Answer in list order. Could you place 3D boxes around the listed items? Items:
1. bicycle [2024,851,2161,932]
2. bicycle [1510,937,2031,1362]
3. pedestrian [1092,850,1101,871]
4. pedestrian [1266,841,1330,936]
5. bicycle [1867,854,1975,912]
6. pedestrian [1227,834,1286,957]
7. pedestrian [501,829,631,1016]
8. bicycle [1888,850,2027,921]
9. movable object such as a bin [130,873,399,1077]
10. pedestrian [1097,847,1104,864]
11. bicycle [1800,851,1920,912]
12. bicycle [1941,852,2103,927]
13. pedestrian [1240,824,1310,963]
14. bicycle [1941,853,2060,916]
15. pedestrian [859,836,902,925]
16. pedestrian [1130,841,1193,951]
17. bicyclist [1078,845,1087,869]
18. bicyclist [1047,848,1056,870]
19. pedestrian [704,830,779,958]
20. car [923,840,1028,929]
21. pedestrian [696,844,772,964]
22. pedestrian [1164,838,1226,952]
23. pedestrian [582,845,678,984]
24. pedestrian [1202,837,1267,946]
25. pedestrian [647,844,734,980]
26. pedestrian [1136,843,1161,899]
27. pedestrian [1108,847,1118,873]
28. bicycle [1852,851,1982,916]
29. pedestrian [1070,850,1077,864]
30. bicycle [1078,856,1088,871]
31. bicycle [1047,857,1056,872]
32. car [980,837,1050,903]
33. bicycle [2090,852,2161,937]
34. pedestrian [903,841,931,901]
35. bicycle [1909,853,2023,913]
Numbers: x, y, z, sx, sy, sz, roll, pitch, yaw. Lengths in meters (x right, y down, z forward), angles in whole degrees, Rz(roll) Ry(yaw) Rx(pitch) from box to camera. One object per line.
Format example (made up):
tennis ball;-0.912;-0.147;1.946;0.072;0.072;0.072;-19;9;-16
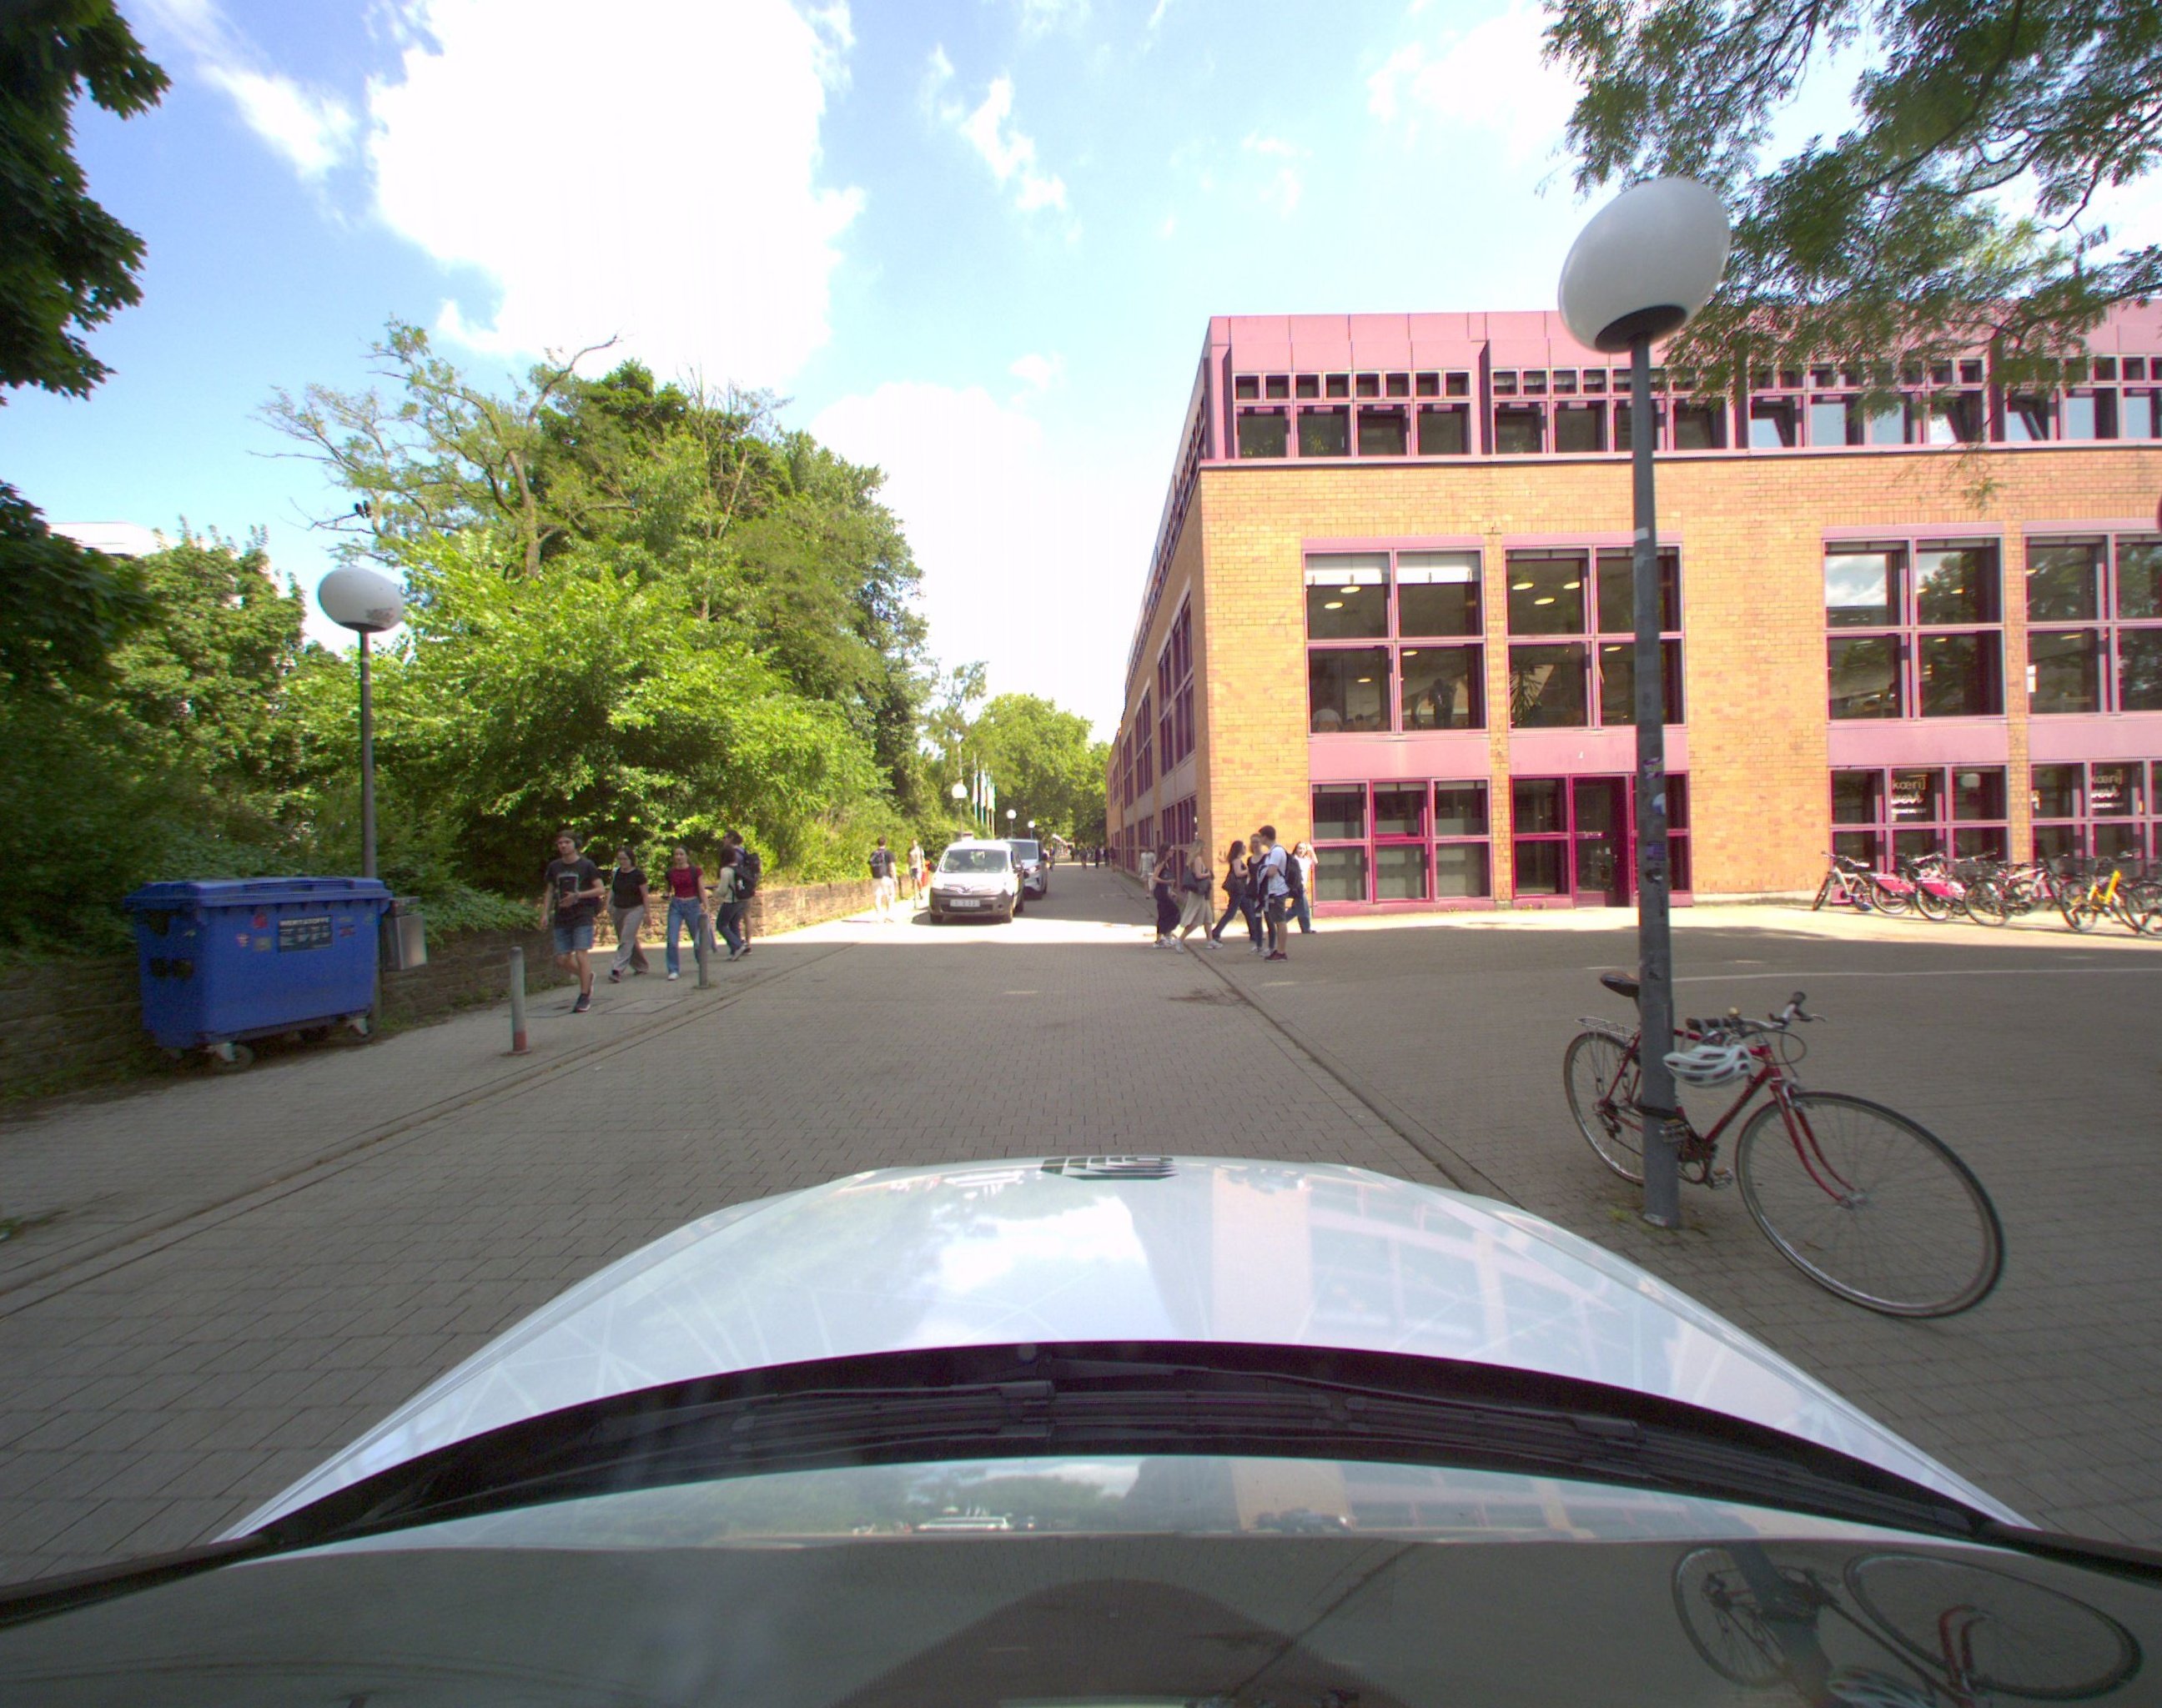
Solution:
bicycle;14.601;0.519;11.581;1.804;1.110;0.523;0;0;-1
bicycle;2.369;0.904;3.122;0.449;0.962;1.739;-4;0;-1
pedestrian;1.273;0.505;66.903;0.584;1.672;0.817;-3;-1;1
pedestrian;3.709;0.569;13.976;0.881;1.542;0.744;-3;0;7
bicycle;16.580;0.557;16.088;1.804;1.110;0.473;0;0;-6
pedestrian;2.486;0.581;11.613;0.693;1.672;0.589;-3;-1;7
pedestrian;-5.075;0.639;8.092;0.681;1.728;1.019;-1;-1;-5
bicycle;14.355;0.505;13.349;1.805;1.110;0.523;0;0;-3
movable object such as a bin;-6.130;0.839;6.204;0.705;1.336;1.243;1;0;10
pedestrian;2.205;0.197;92.183;0.651;1.922;0.817;-3;-1;1
bicycle;14.597;0.504;15.274;1.804;1.110;0.523;0;0;-2
bicycle;14.346;0.534;12.442;1.802;1.110;0.524;0;0;3
pedestrian;2.592;0.523;10.948;0.762;1.794;0.589;-3;-1;7
bicycle;16.664;0.539;14.770;1.804;1.110;0.473;0;0;-6
pedestrian;-4.259;0.552;17.351;0.680;1.844;0.783;-1;-1;0
pedestrian;1.303;0.661;13.119;0.881;1.672;0.644;-3;1;7
bicyclist;0.127;0.220;60.428;0.586;1.716;0.664;-1;0;-4
bicyclist;-2.153;0.366;58.620;0.586;1.573;0.828;-1;0;-4
pedestrian;-5.076;0.580;12.200;0.824;1.844;0.684;-1;-1;-3
car;-2.306;0.603;18.898;1.784;1.761;4.480;-2;0;0
pedestrian;-4.891;0.687;11.526;0.779;1.620;0.684;-1;-1;-3
pedestrian;1.724;0.613;12.344;0.881;1.672;0.560;-1;-1;7
pedestrian;-5.566;0.717;10.100;0.681;1.620;0.977;-1;-1;-5
pedestrian;2.437;0.588;12.992;0.924;1.672;0.589;-2;-1;7
pedestrian;-4.877;0.698;10.214;0.681;1.620;0.912;-1;-1;-5
pedestrian;2.127;0.525;25.738;0.680;1.747;0.783;-1;-1;0
pedestrian;2.101;0.416;53.250;0.584;1.672;0.699;-3;-1;1
bicycle;14.792;0.514;14.426;1.804;1.110;0.523;0;0;-1
pedestrian;-0.977;0.396;104.890;0.722;1.672;0.748;-3;-1;1
bicycle;0.141;0.681;60.413;0.586;1.083;1.905;-1;0;-3
bicycle;-2.153;0.746;58.752;0.586;1.083;1.811;-1;0;-3
car;-2.108;0.467;27.449;1.877;1.974;5.214;-1;0;0
bicycle;14.808;0.525;10.922;1.801;1.110;0.524;0;0;3
pedestrian;-5.127;0.518;25.437;0.680;1.844;0.783;-1;-1;0
bicycle;16.679;0.535;15.354;1.804;1.110;0.473;0;0;-6
